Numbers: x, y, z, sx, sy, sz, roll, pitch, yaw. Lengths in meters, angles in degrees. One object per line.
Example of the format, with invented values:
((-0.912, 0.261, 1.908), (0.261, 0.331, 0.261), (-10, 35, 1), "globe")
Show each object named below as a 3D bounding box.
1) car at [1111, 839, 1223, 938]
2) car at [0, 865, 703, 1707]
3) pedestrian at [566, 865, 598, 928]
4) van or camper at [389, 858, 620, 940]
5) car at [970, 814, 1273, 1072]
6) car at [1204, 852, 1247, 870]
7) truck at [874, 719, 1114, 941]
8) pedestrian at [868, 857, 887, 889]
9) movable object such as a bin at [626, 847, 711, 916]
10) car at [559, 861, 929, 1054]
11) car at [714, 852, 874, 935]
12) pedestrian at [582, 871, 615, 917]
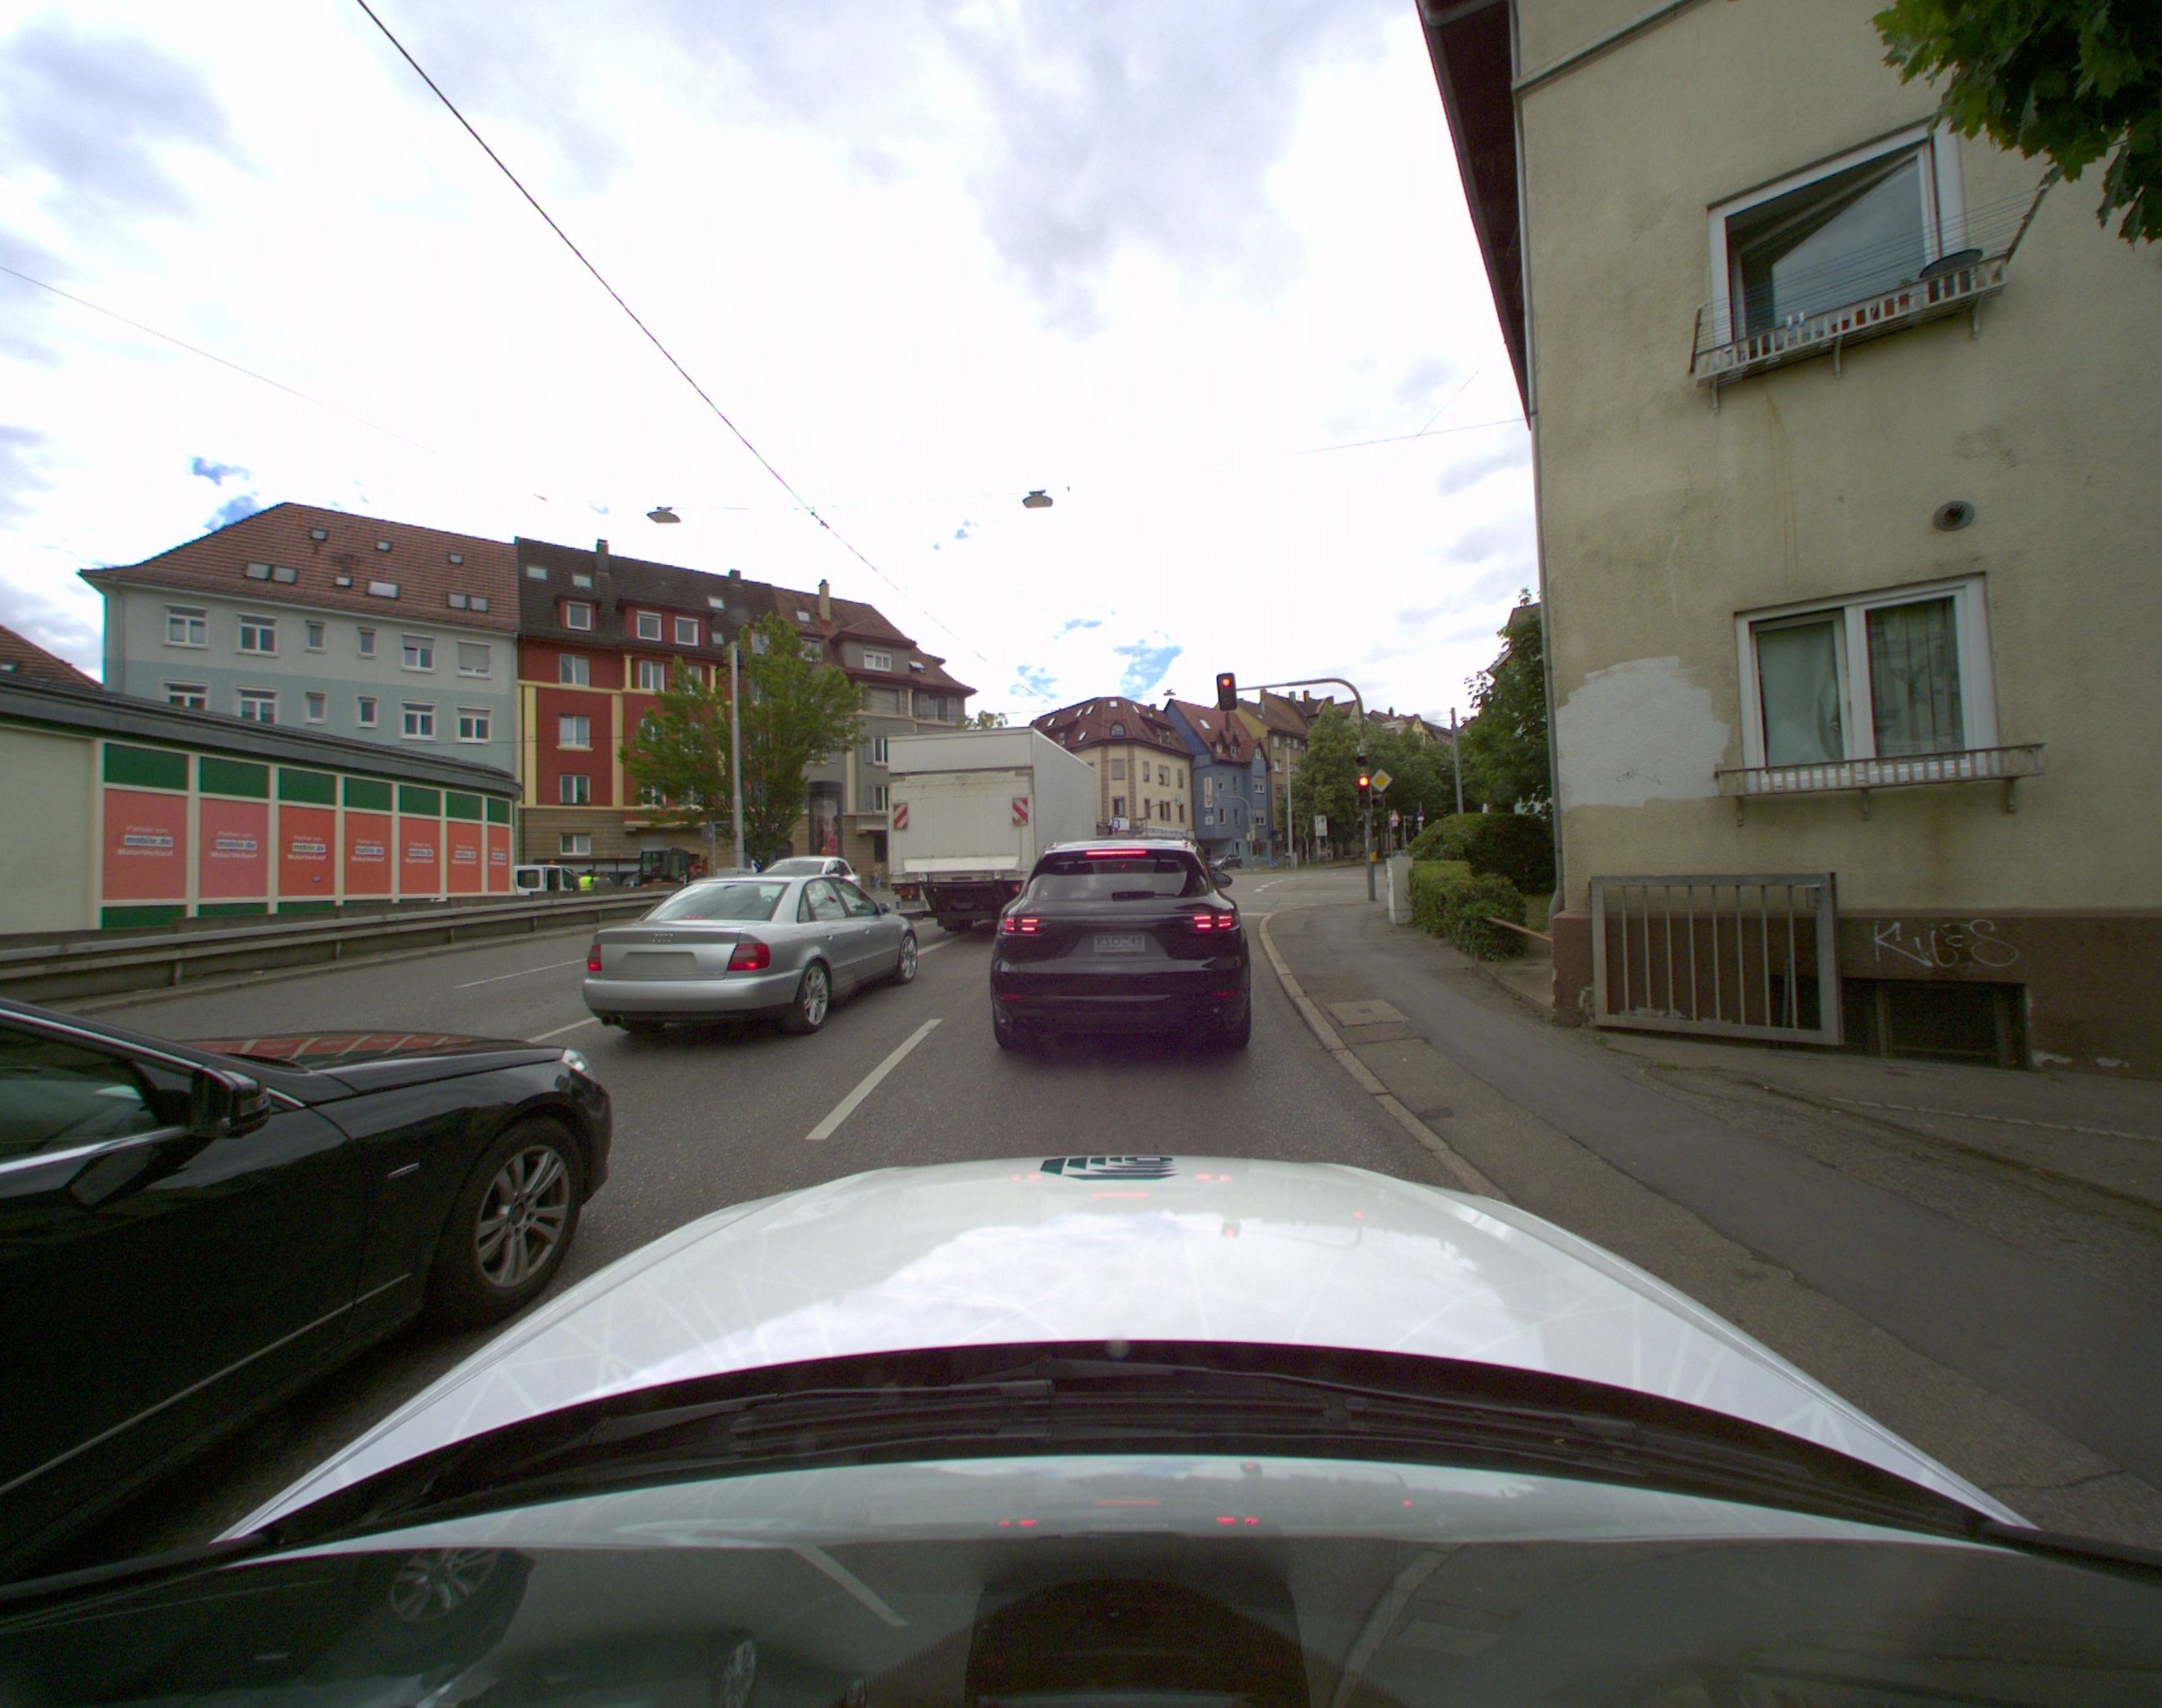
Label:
((1.674, 0.562, 14.780), (1.638, 1.556, 3.595), (-1, -1, 12), "car")
((-2.869, 0.807, 1.415), (1.986, 1.429, 4.844), (-2, 0, 2), "car")
((-16.415, 1.384, 26.768), (0.830, 2.013, 0.673), (-1, 0, -34), "pedestrian")
((-18.986, 1.386, 27.261), (6.028, 2.338, 2.661), (-1, 0, -33), "van or camper")
((0.343, 0.618, 7.739), (2.024, 1.723, 4.501), (0, 0, 2), "car")
((12.605, 0.598, 71.081), (1.700, 1.477, 4.244), (-2, -3, 42), "car")
((-1.289, -0.392, 17.513), (2.708, 3.544, 8.446), (-2, 0, 10), "truck")
((-9.580, 0.892, 38.303), (0.657, 1.487, 0.517), (-2, 0, -40), "pedestrian")
((-13.145, 0.842, 26.152), (1.375, 2.013, 3.524), (-2, 0, -10), "movable object such as a bin")
((-2.954, 0.815, 8.229), (1.620, 1.365, 4.135), (-2, 0, 6), "car")
((-6.119, 0.781, 17.915), (1.763, 1.521, 4.088), (-3, 0, 4), "car")
((-14.715, 1.220, 24.828), (0.594, 1.363, 0.630), (-2, 0, 35), "pedestrian")
